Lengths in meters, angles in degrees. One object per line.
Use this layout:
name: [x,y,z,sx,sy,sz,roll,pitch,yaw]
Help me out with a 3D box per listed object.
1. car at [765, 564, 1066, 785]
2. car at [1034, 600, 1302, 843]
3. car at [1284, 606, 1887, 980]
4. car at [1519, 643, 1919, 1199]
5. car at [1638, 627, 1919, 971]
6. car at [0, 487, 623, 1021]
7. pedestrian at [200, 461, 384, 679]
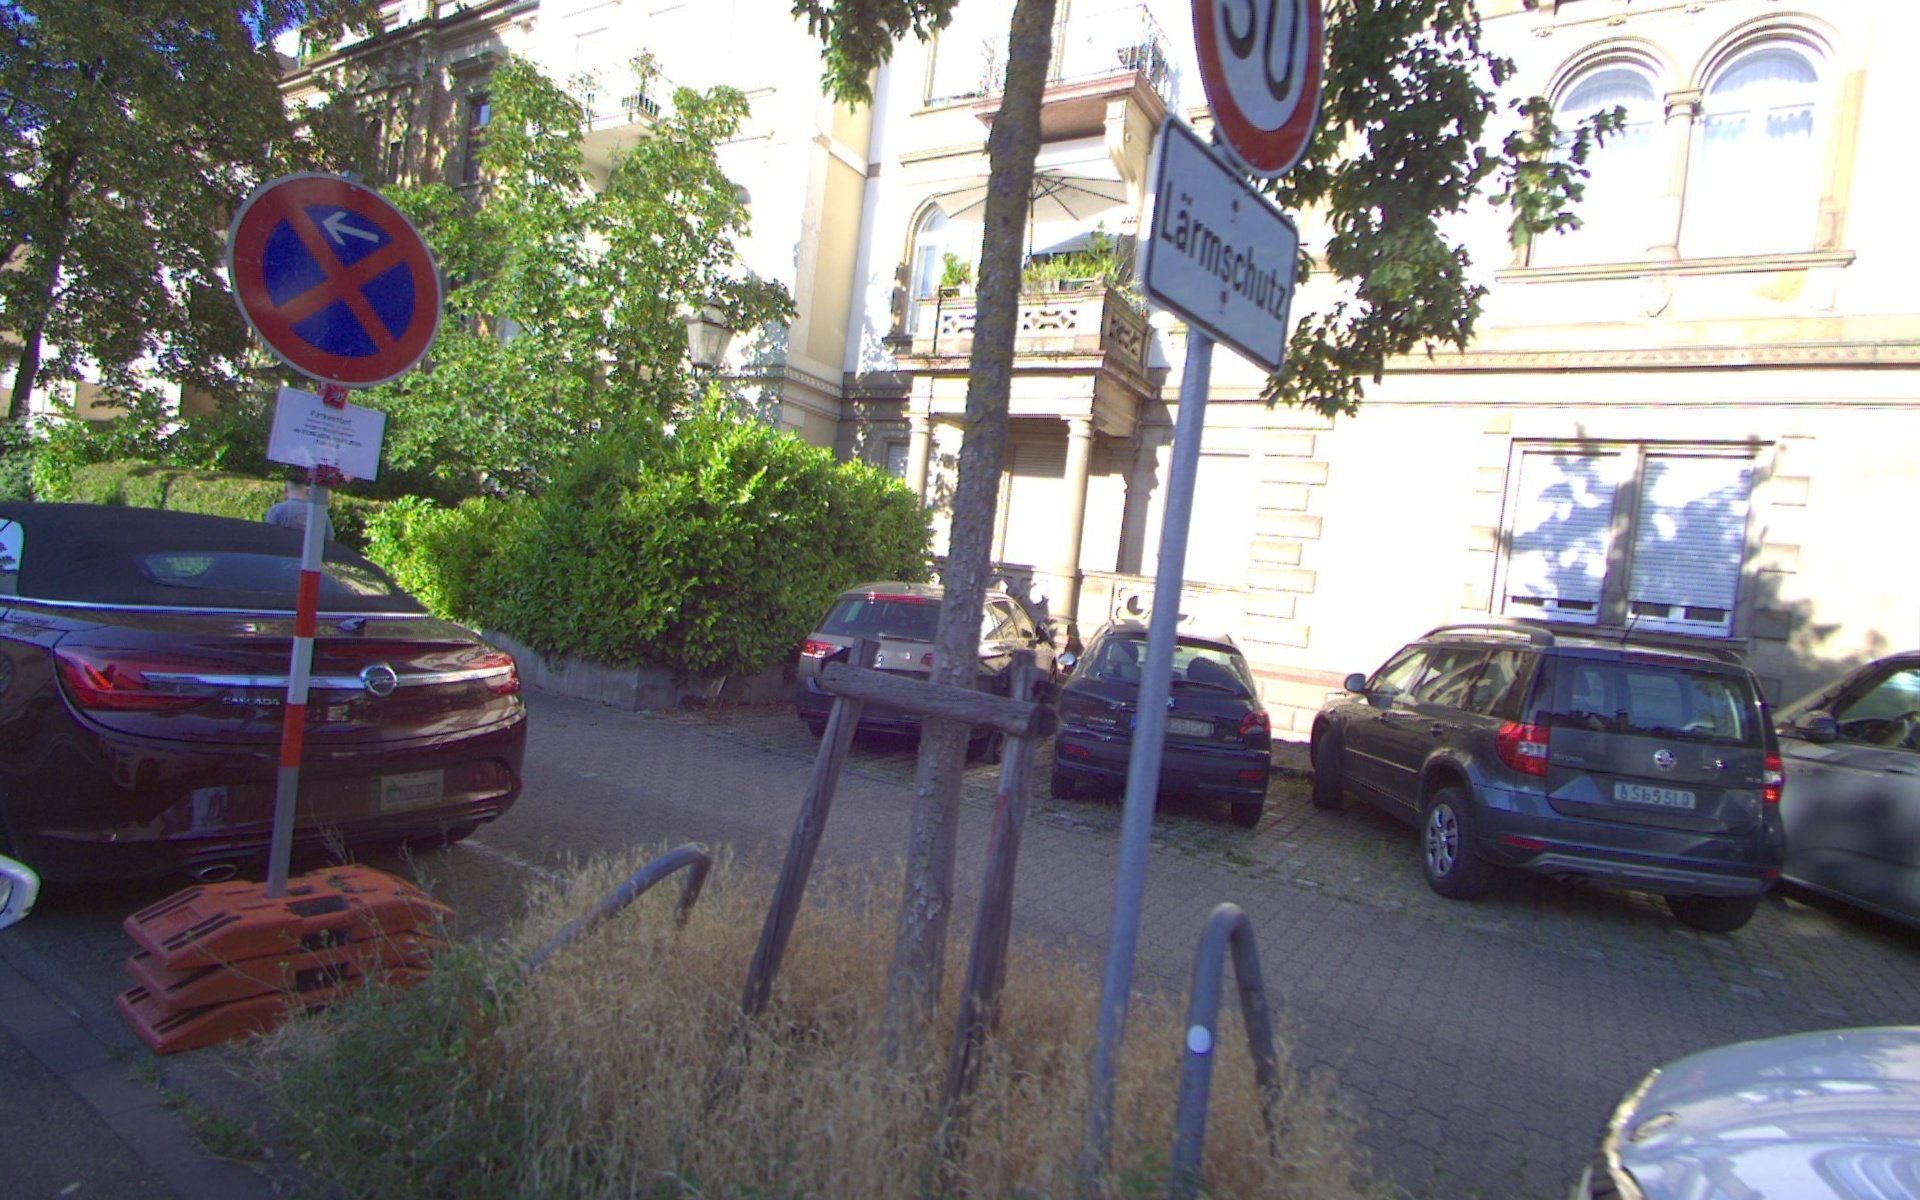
car: [-0.175,0.584,10.085,1.758,1.530,4.250,7,2,13]
car: [1.745,0.839,9.086,1.684,1.460,4.098,7,2,8]
car: [3.921,1.025,7.323,1.754,1.721,4.098,7,1,2]
car: [2.904,1.082,0.514,4.545,1.496,1.823,7,0,32]
car: [6.463,1.258,5.705,1.884,1.923,4.940,7,0,3]
car: [-3.885,0.277,4.775,4.538,1.439,1.758,7,2,31]
pedestrian: [-6.007,-0.260,9.061,1.070,1.796,0.822,7,1,28]
